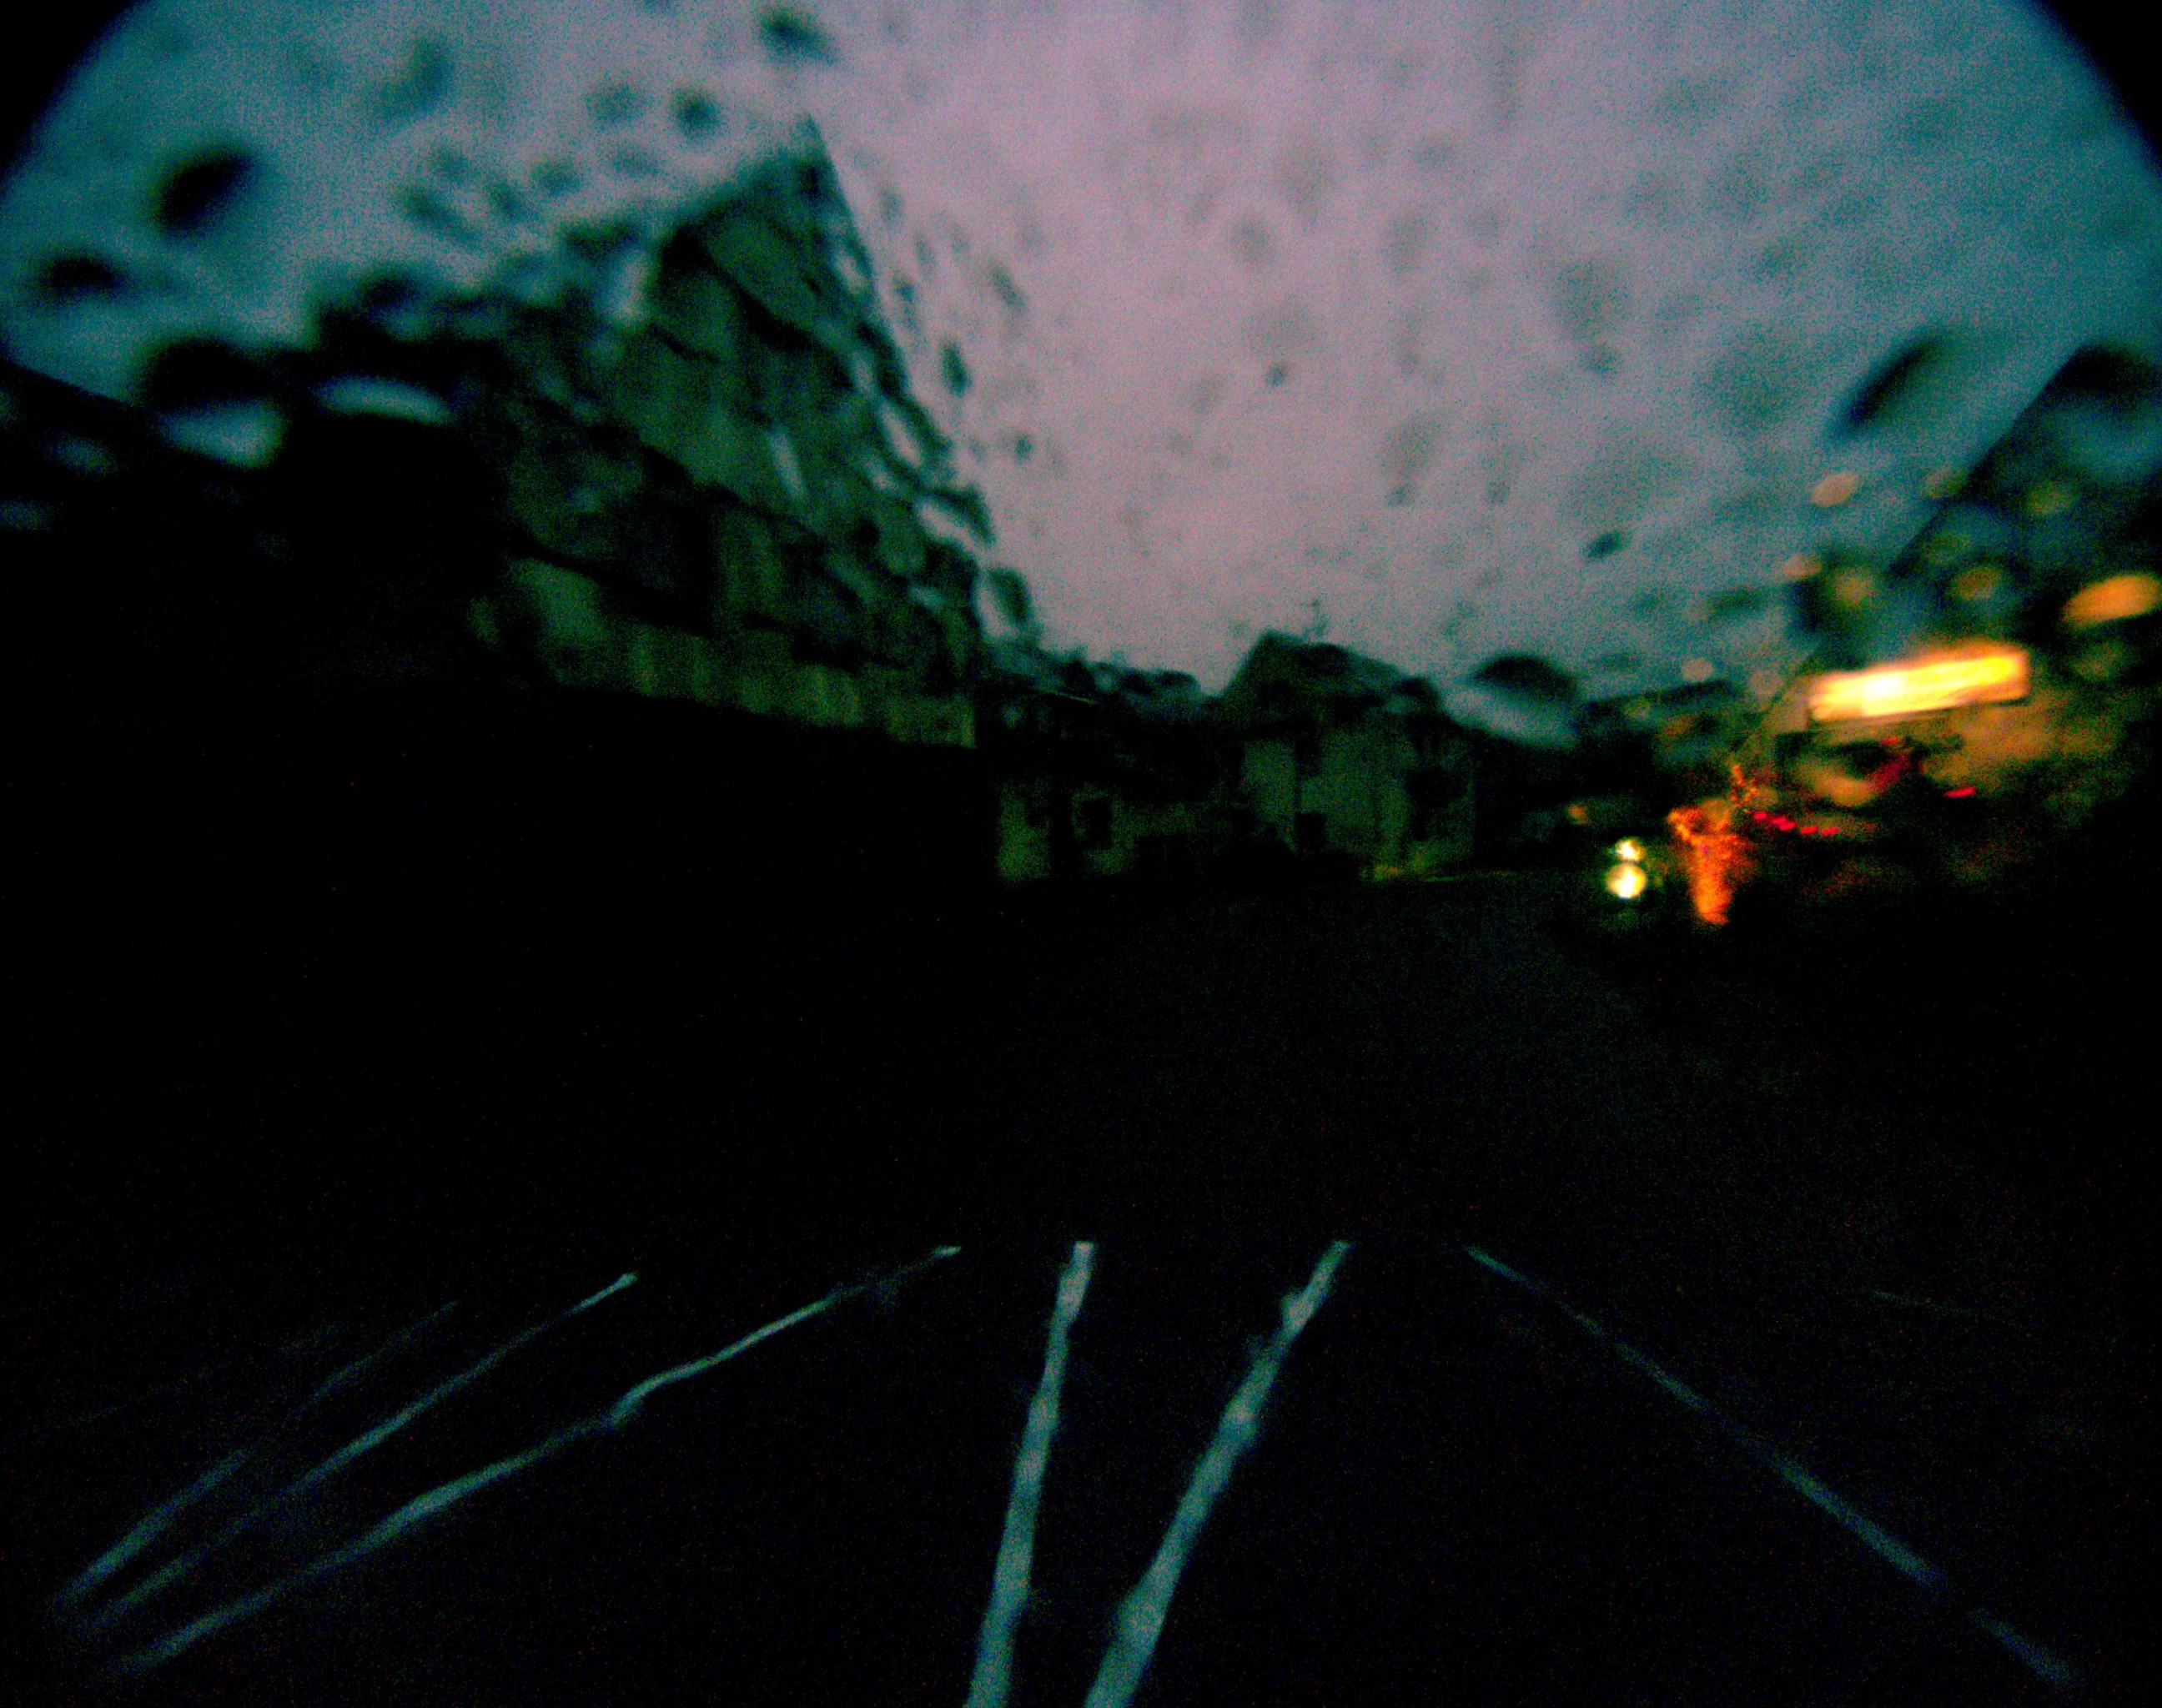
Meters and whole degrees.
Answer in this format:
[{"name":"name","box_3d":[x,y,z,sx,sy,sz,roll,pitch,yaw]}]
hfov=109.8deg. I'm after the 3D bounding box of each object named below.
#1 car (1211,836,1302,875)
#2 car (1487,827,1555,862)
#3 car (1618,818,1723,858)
[{"name":"car","box_3d":[7.334,0.018,31.981,1.652,1.498,3.480,-3,4,-38]},{"name":"car","box_3d":[22.186,-0.508,38.237,4.285,1.479,1.807,-5,5,-43]},{"name":"car","box_3d":[26.485,-0.731,34.127,4.240,1.549,1.988,-3,1,-25]}]
